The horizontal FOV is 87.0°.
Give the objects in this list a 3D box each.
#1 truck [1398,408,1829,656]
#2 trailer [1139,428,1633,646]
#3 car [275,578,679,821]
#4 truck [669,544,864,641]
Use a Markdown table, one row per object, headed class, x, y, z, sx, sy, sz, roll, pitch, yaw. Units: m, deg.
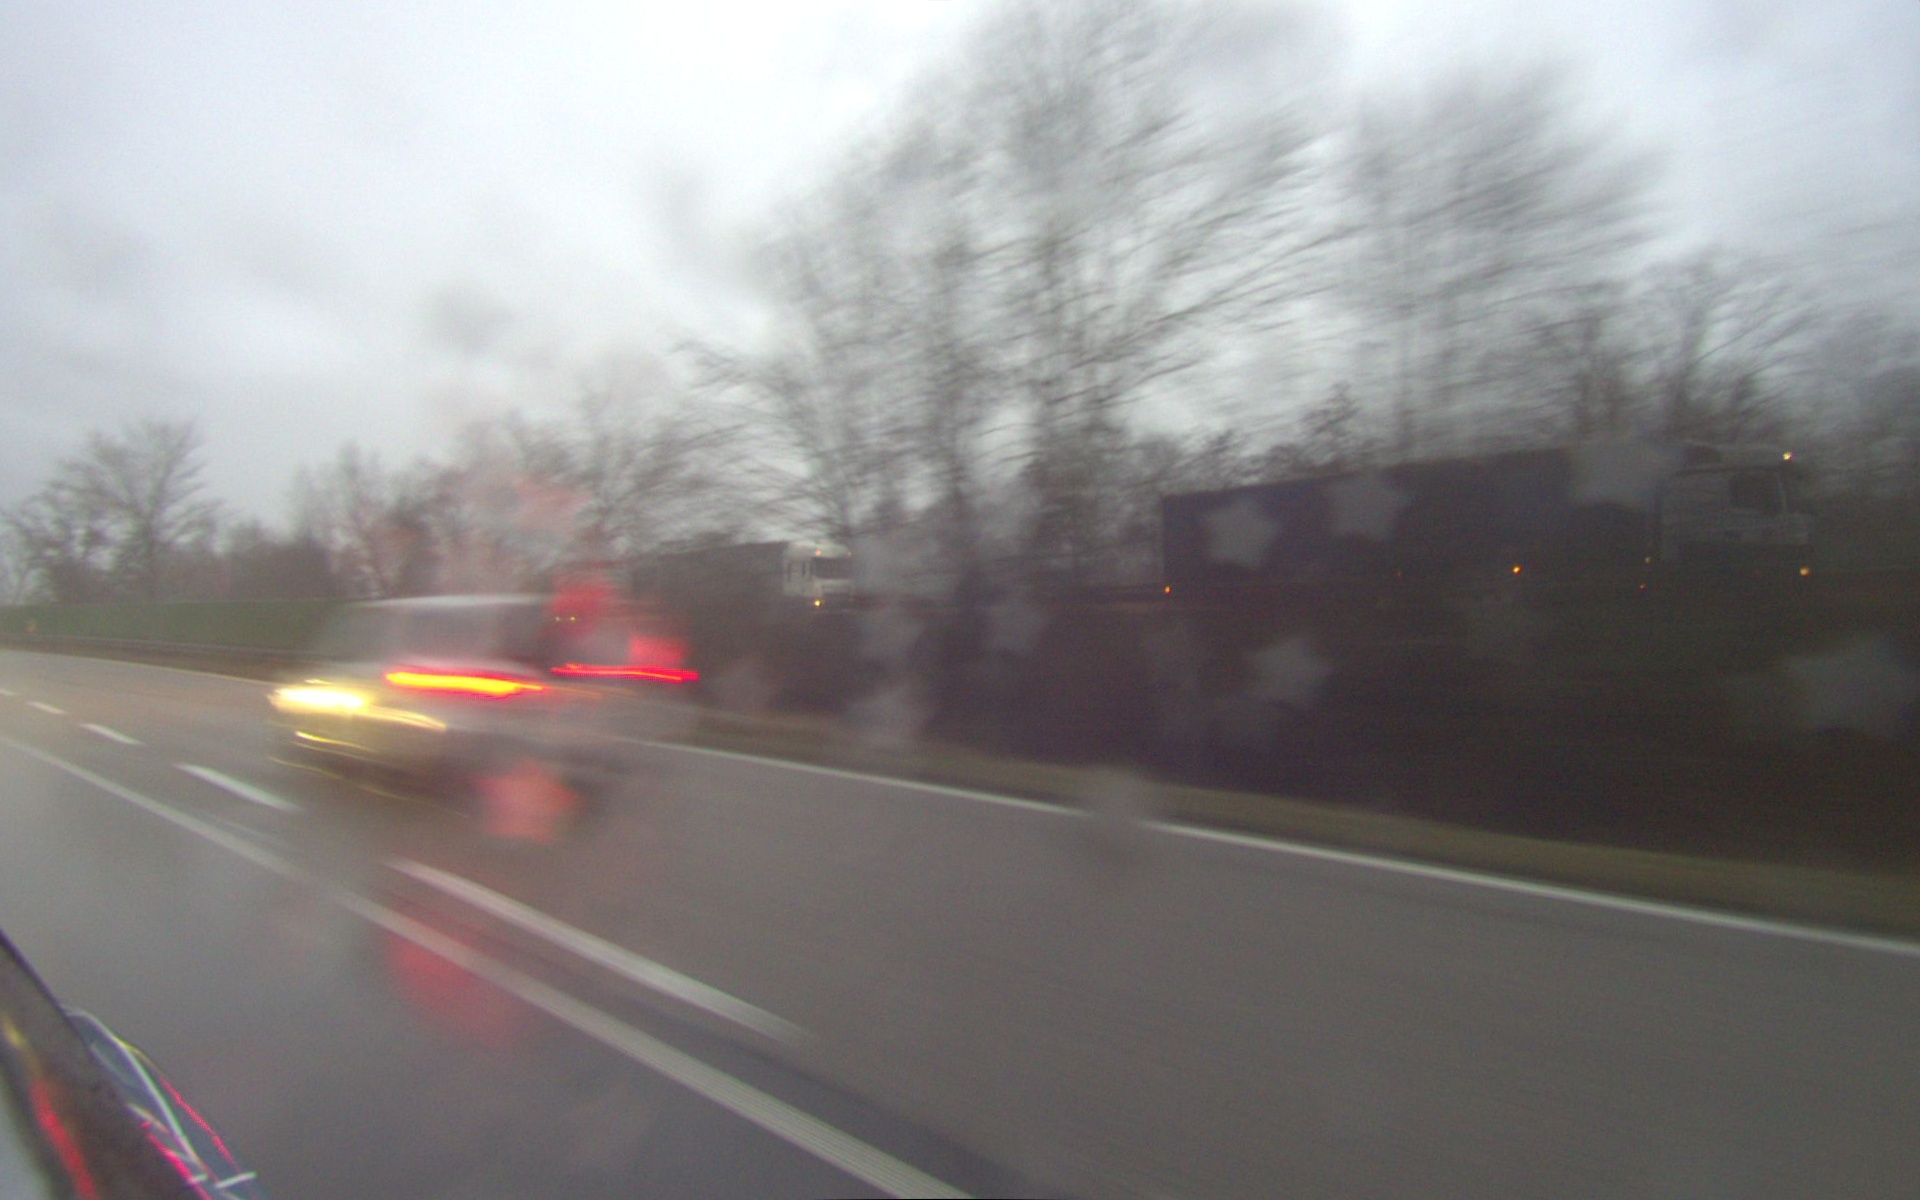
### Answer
| class | x | y | z | sx | sy | sz | roll | pitch | yaw |
| --- | --- | --- | --- | --- | --- | --- | --- | --- | --- |
| truck | 15.932 | -1.437 | 25.314 | 3.236 | 5.168 | 8.527 | 1 | 0 | -43 |
| trailer | 11.674 | -1.522 | 29.879 | 3.262 | 5.142 | 13.245 | 2 | -1 | -43 |
| car | -4.239 | 0.691 | 8.592 | 3.998 | 1.587 | 1.682 | -1 | -1 | 42 |
| truck | -10.777 | -0.383 | 54.479 | 3.237 | 4.645 | 13.888 | 1 | 0 | -44 |
